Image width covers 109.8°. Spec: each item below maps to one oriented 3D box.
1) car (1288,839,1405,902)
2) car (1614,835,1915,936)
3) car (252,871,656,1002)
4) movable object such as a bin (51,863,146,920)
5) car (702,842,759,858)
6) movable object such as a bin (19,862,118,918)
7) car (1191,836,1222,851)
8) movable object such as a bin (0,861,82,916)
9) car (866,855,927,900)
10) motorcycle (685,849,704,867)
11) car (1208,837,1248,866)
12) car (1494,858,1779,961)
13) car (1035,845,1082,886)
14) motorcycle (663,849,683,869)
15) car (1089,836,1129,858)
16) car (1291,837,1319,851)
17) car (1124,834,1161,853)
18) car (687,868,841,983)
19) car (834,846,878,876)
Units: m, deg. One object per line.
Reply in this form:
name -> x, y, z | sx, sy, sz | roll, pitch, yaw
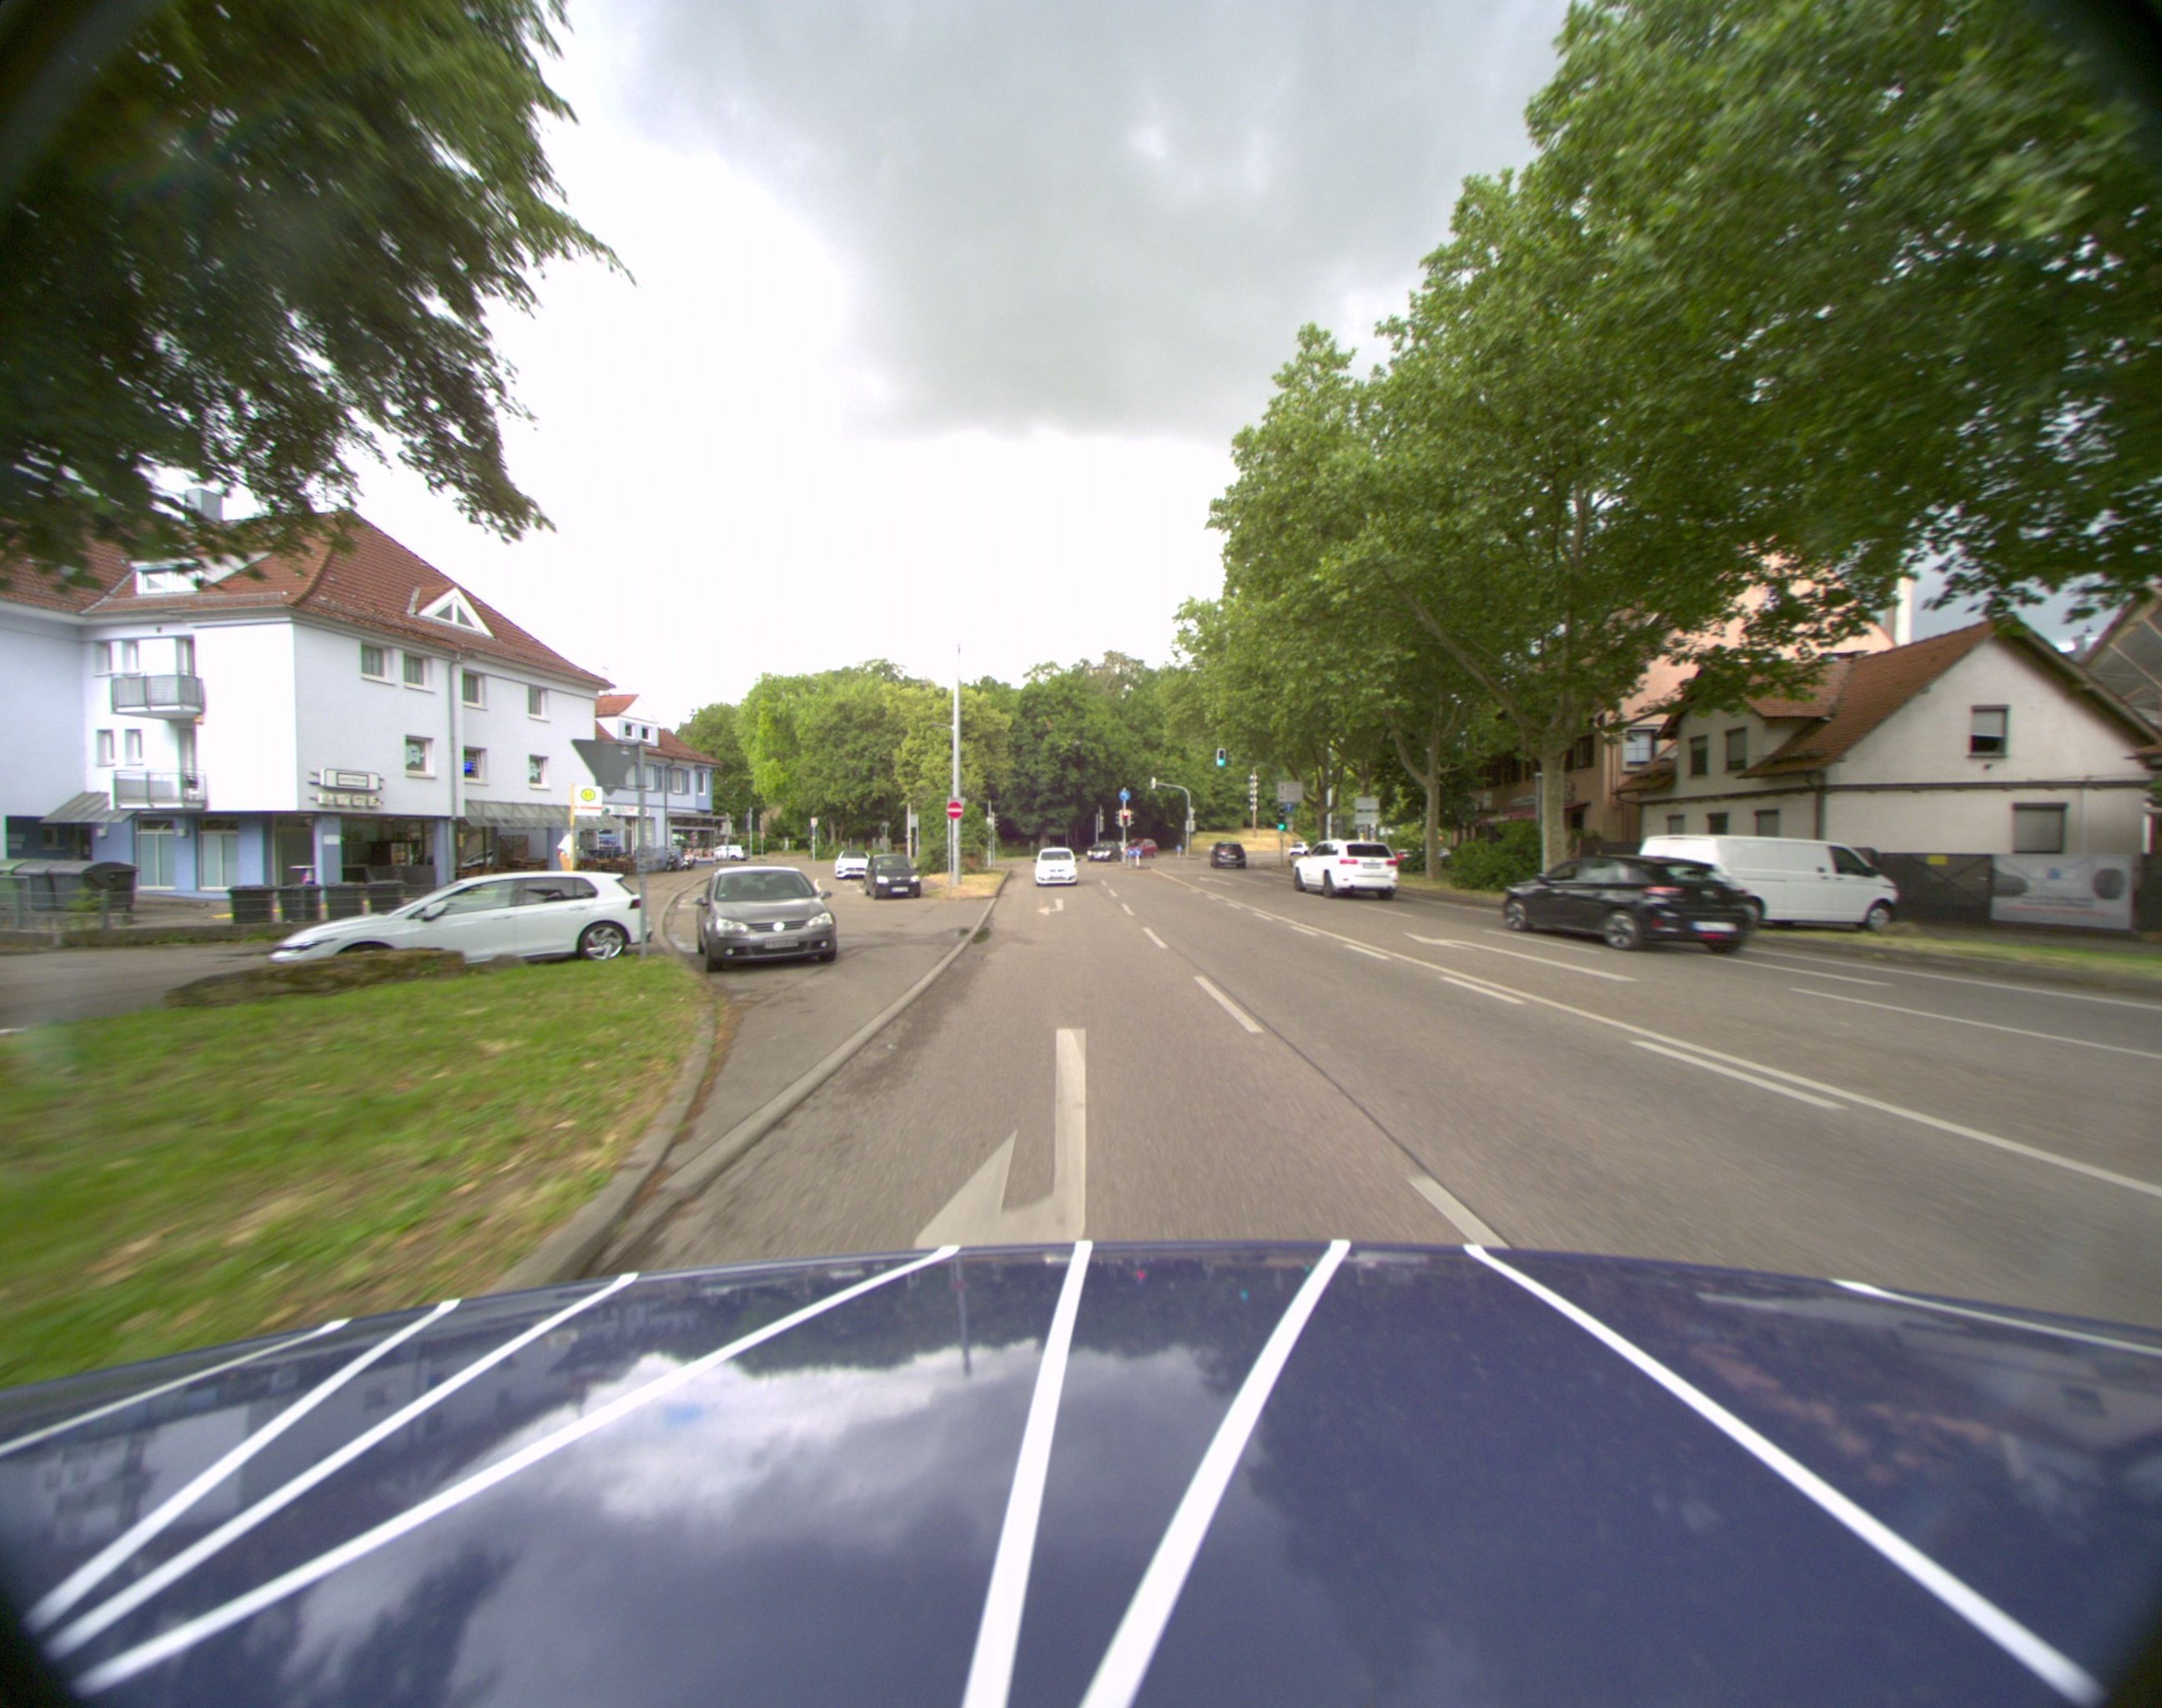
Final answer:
car -> 8.118, 0.435, 23.755 | 1.916, 1.753, 4.751 | 0, 1, -1
car -> 14.448, 0.654, 16.146 | 5.246, 1.920, 2.081 | 2, 1, -14
car -> -8.830, 1.020, 11.086 | 4.270, 1.373, 1.759 | -1, 1, -44
movable object such as a bin -> -25.796, 0.961, 19.971 | 1.216, 1.408, 1.095 | 1, 2, 15
car -> -32.660, -0.391, 70.845 | 4.539, 1.448, 1.901 | 0, 2, 11
movable object such as a bin -> -27.102, 0.941, 20.357 | 1.216, 1.387, 1.162 | 1, 2, 15
car -> 13.387, -1.122, 80.709 | 1.779, 1.560, 4.007 | 2, 2, 32
movable object such as a bin -> -28.385, 0.926, 20.630 | 1.216, 1.387, 1.095 | 1, 2, 15
car -> -6.344, 0.741, 25.904 | 1.575, 1.396, 3.488 | -1, 1, -21
motorcycle -> -22.859, 0.230, 44.943 | 0.522, 0.980, 1.821 | -1, 2, -11
car -> 8.870, -0.181, 46.252 | 1.800, 1.578, 4.416 | 2, 1, 4
car -> 8.650, 0.775, 12.319 | 1.573, 1.374, 3.949 | 1, 0, -3
car -> -0.984, 0.426, 31.443 | 1.629, 1.500, 3.996 | 0, 2, -6
motorcycle -> -22.650, 0.260, 42.226 | 0.490, 1.025, 1.723 | 0, 2, -11
car -> 2.099, -0.543, 56.087 | 1.727, 1.512, 4.005 | 1, 2, 22
car -> 25.443, -1.176, 86.410 | 1.762, 1.458, 4.029 | 3, 3, 36
car -> 5.456, -0.953, 66.967 | 1.671, 1.632, 4.108 | 2, 2, 30
car -> -5.133, 0.961, 11.982 | 1.736, 1.420, 4.103 | -1, 0, -30
car -> -11.842, 0.306, 39.762 | 2.002, 1.379, 4.778 | 0, 2, -19
